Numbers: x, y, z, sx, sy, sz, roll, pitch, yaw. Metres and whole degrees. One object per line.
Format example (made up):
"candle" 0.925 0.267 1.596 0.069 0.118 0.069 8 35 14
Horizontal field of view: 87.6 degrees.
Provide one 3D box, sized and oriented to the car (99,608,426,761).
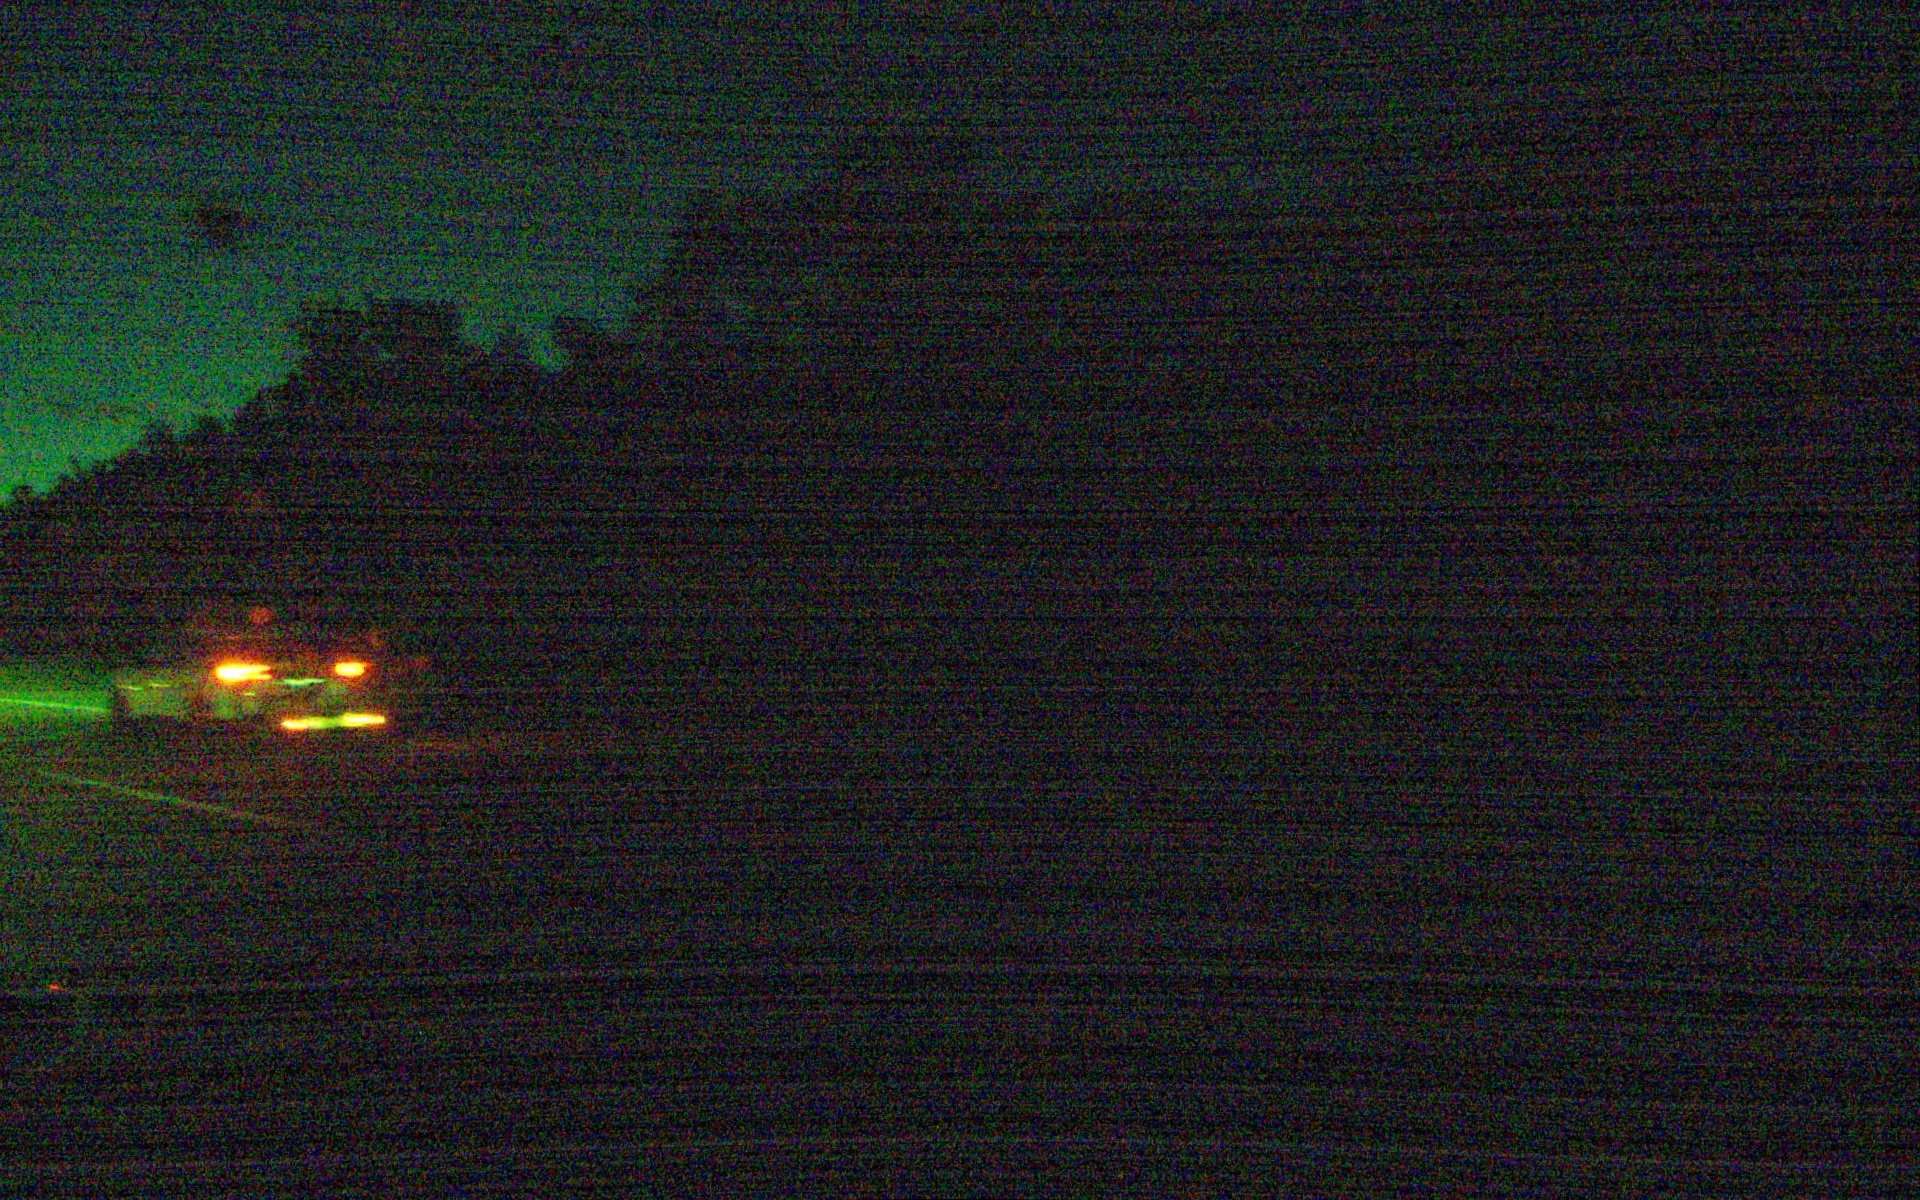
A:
"car" -9.601 1.021 13.642 5.097 1.740 1.989 -1 -1 34
